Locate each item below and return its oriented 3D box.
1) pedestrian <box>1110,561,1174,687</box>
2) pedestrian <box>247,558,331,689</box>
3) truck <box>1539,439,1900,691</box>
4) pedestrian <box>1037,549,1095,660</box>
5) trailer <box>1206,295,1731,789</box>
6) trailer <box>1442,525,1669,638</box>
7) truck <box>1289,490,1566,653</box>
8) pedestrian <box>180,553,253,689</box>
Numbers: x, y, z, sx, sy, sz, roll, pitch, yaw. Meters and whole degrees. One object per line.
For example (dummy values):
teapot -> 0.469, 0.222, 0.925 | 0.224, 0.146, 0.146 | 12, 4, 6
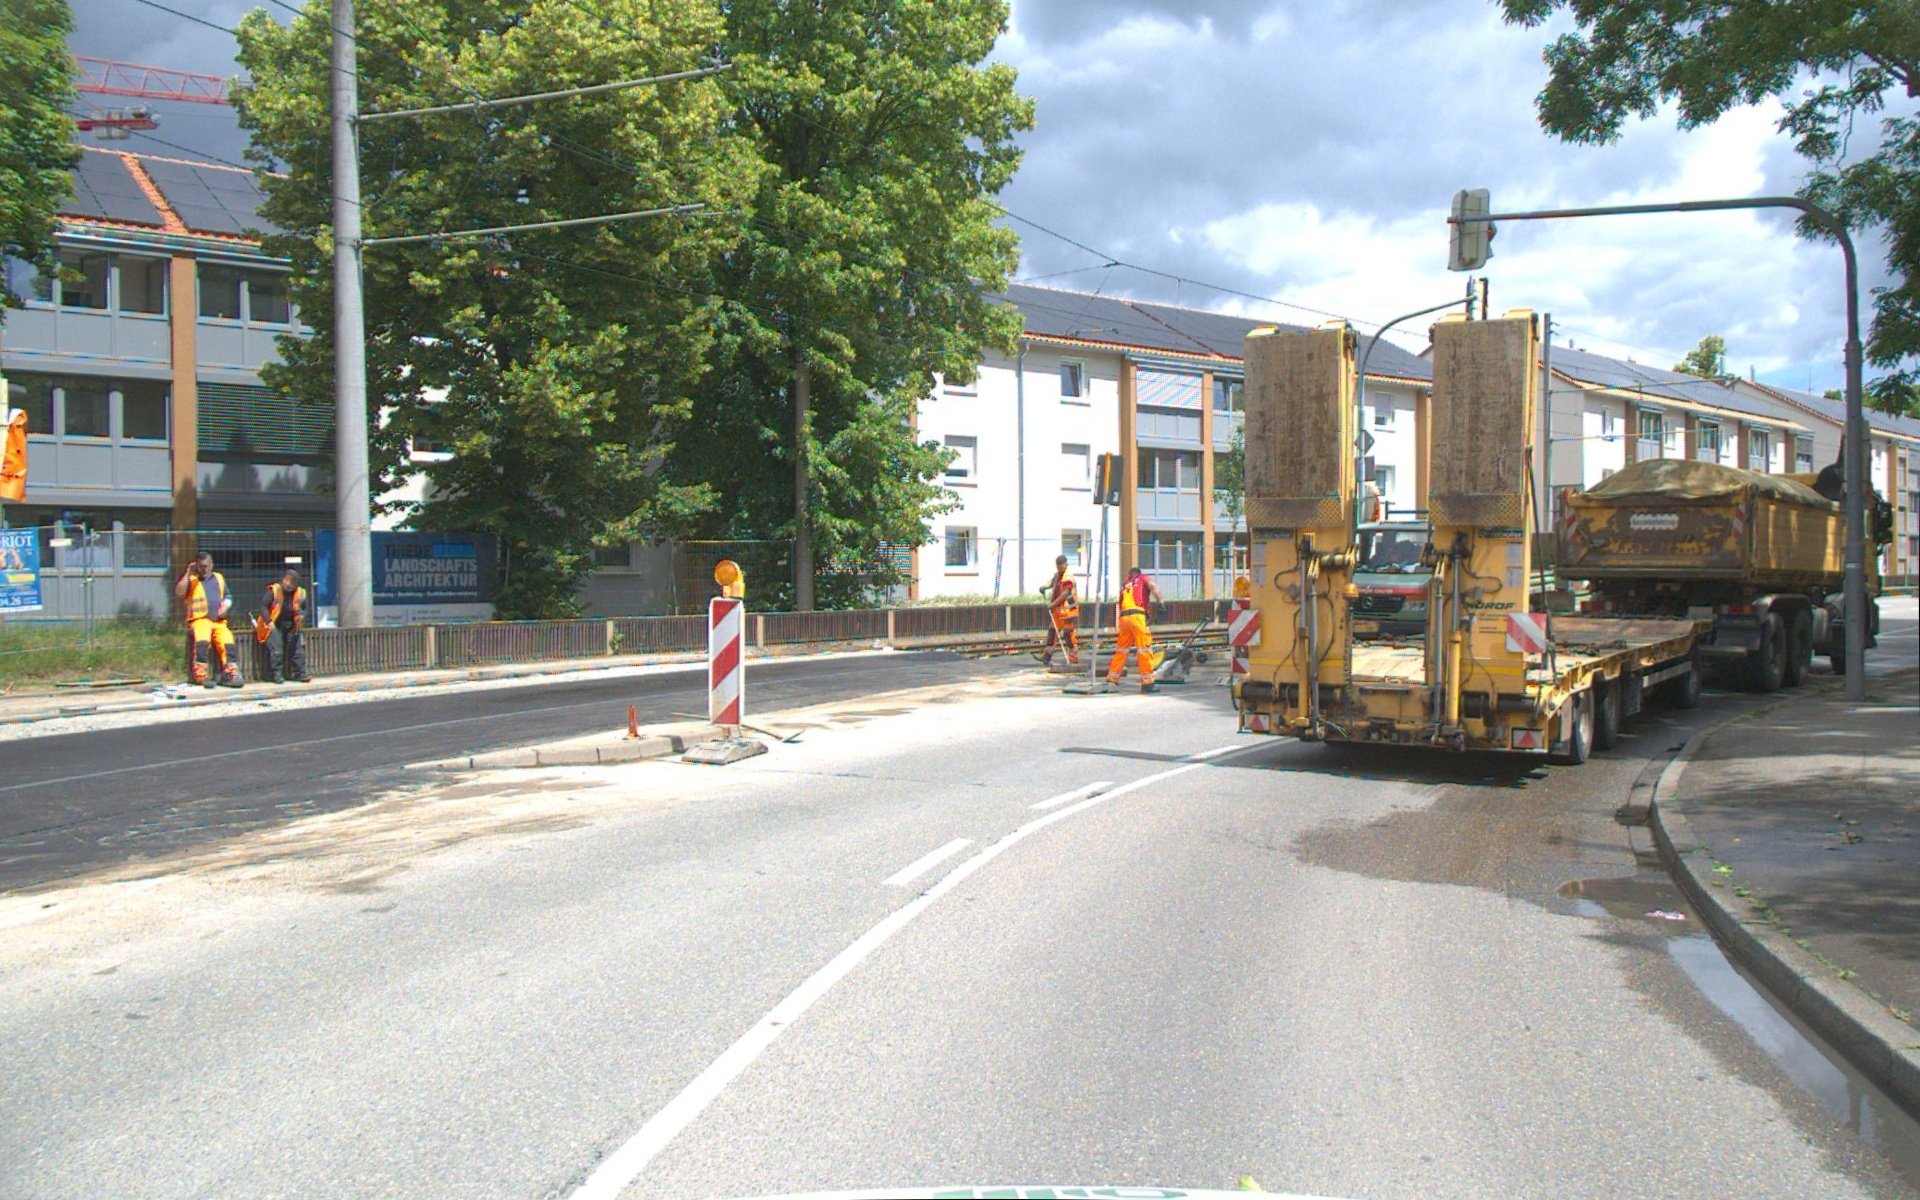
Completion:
pedestrian -> 2.351, 0.295, 21.477 | 0.746, 1.578, 0.901 | 0, 2, 2
pedestrian -> -8.308, 0.276, 20.465 | 0.894, 1.559, 0.834 | -1, 1, -26
truck -> 11.663, -0.581, 24.968 | 2.874, 3.222, 7.636 | 2, 3, 41
pedestrian -> 1.649, 0.073, 25.630 | 0.690, 1.697, 0.828 | 0, -1, 20
trailer -> 6.004, -0.562, 17.470 | 2.771, 3.585, 11.030 | 2, 2, 30
trailer -> 13.090, -0.475, 36.071 | 2.622, 2.252, 6.214 | 2, 3, 40
truck -> 8.982, -0.591, 31.332 | 2.622, 2.772, 6.361 | 2, 3, 40
pedestrian -> -8.846, 0.239, 19.663 | 0.750, 1.568, 0.792 | -1, 1, -26
